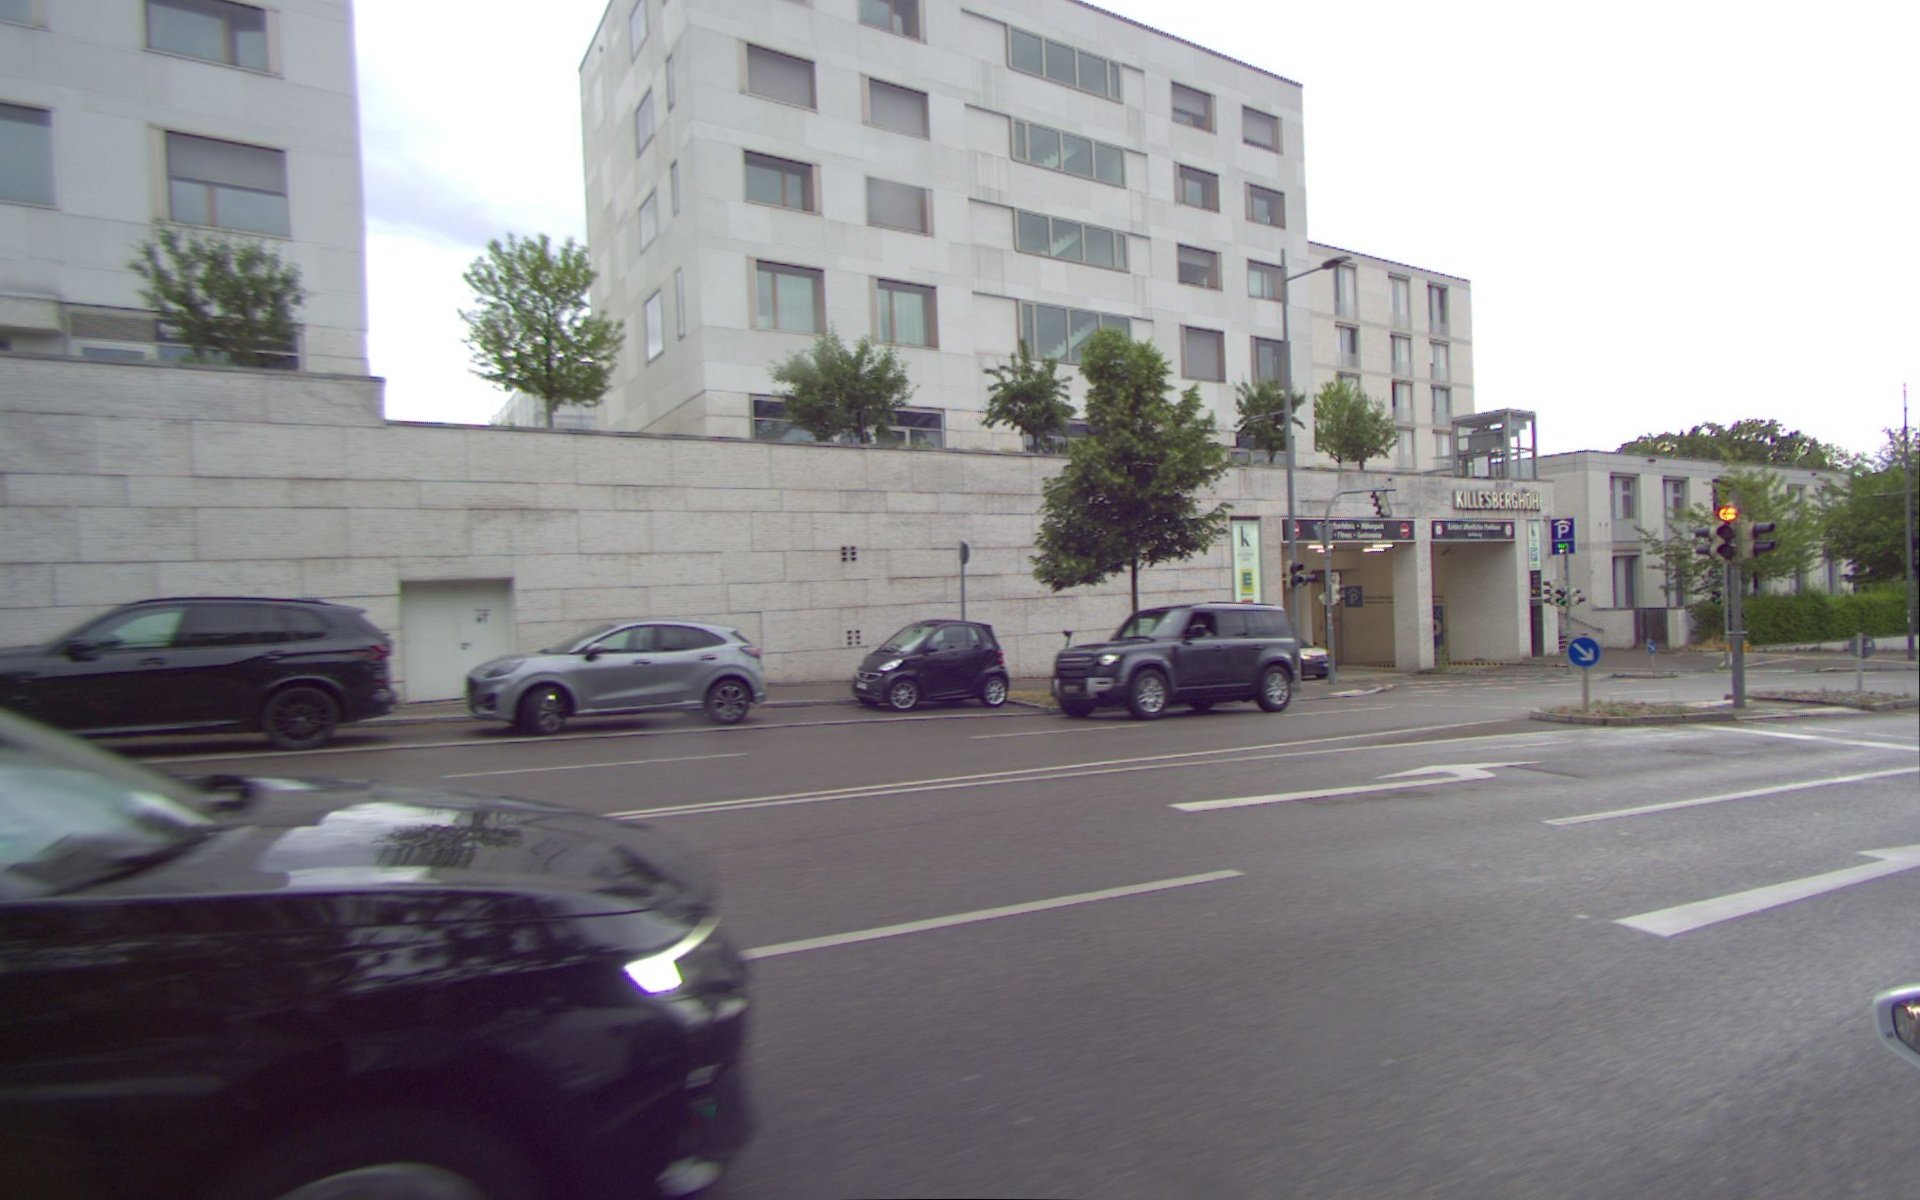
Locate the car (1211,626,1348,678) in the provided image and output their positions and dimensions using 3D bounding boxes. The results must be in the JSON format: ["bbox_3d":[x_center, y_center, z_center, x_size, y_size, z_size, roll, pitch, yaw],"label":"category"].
[{"bbox_3d":[11.281,1.817,35.736,1.908,1.694,4.475,2,-2,-33],"label":"car"}]

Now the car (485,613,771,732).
[{"bbox_3d":[-4.813,0.996,14.706,3.671,1.535,1.669,2,-1,-33],"label":"car"}]

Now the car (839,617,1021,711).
[{"bbox_3d":[-0.524,1.116,18.232,2.948,1.535,1.499,2,0,-33],"label":"car"}]

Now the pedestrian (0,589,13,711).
[{"bbox_3d":[-14.665,0.732,14.712,1.010,1.798,0.703,1,-1,-33],"label":"pedestrian"}]

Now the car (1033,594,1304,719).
[{"bbox_3d":[3.609,0.971,17.151,4.459,1.881,1.910,2,-5,-34],"label":"car"}]

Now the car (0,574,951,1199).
[{"bbox_3d":[-2.377,0.683,1.738,4.469,1.450,1.790,1,0,-32],"label":"car"}]

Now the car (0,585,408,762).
[{"bbox_3d":[-9.174,0.784,11.786,4.551,1.804,1.845,1,-1,-35],"label":"car"}]
